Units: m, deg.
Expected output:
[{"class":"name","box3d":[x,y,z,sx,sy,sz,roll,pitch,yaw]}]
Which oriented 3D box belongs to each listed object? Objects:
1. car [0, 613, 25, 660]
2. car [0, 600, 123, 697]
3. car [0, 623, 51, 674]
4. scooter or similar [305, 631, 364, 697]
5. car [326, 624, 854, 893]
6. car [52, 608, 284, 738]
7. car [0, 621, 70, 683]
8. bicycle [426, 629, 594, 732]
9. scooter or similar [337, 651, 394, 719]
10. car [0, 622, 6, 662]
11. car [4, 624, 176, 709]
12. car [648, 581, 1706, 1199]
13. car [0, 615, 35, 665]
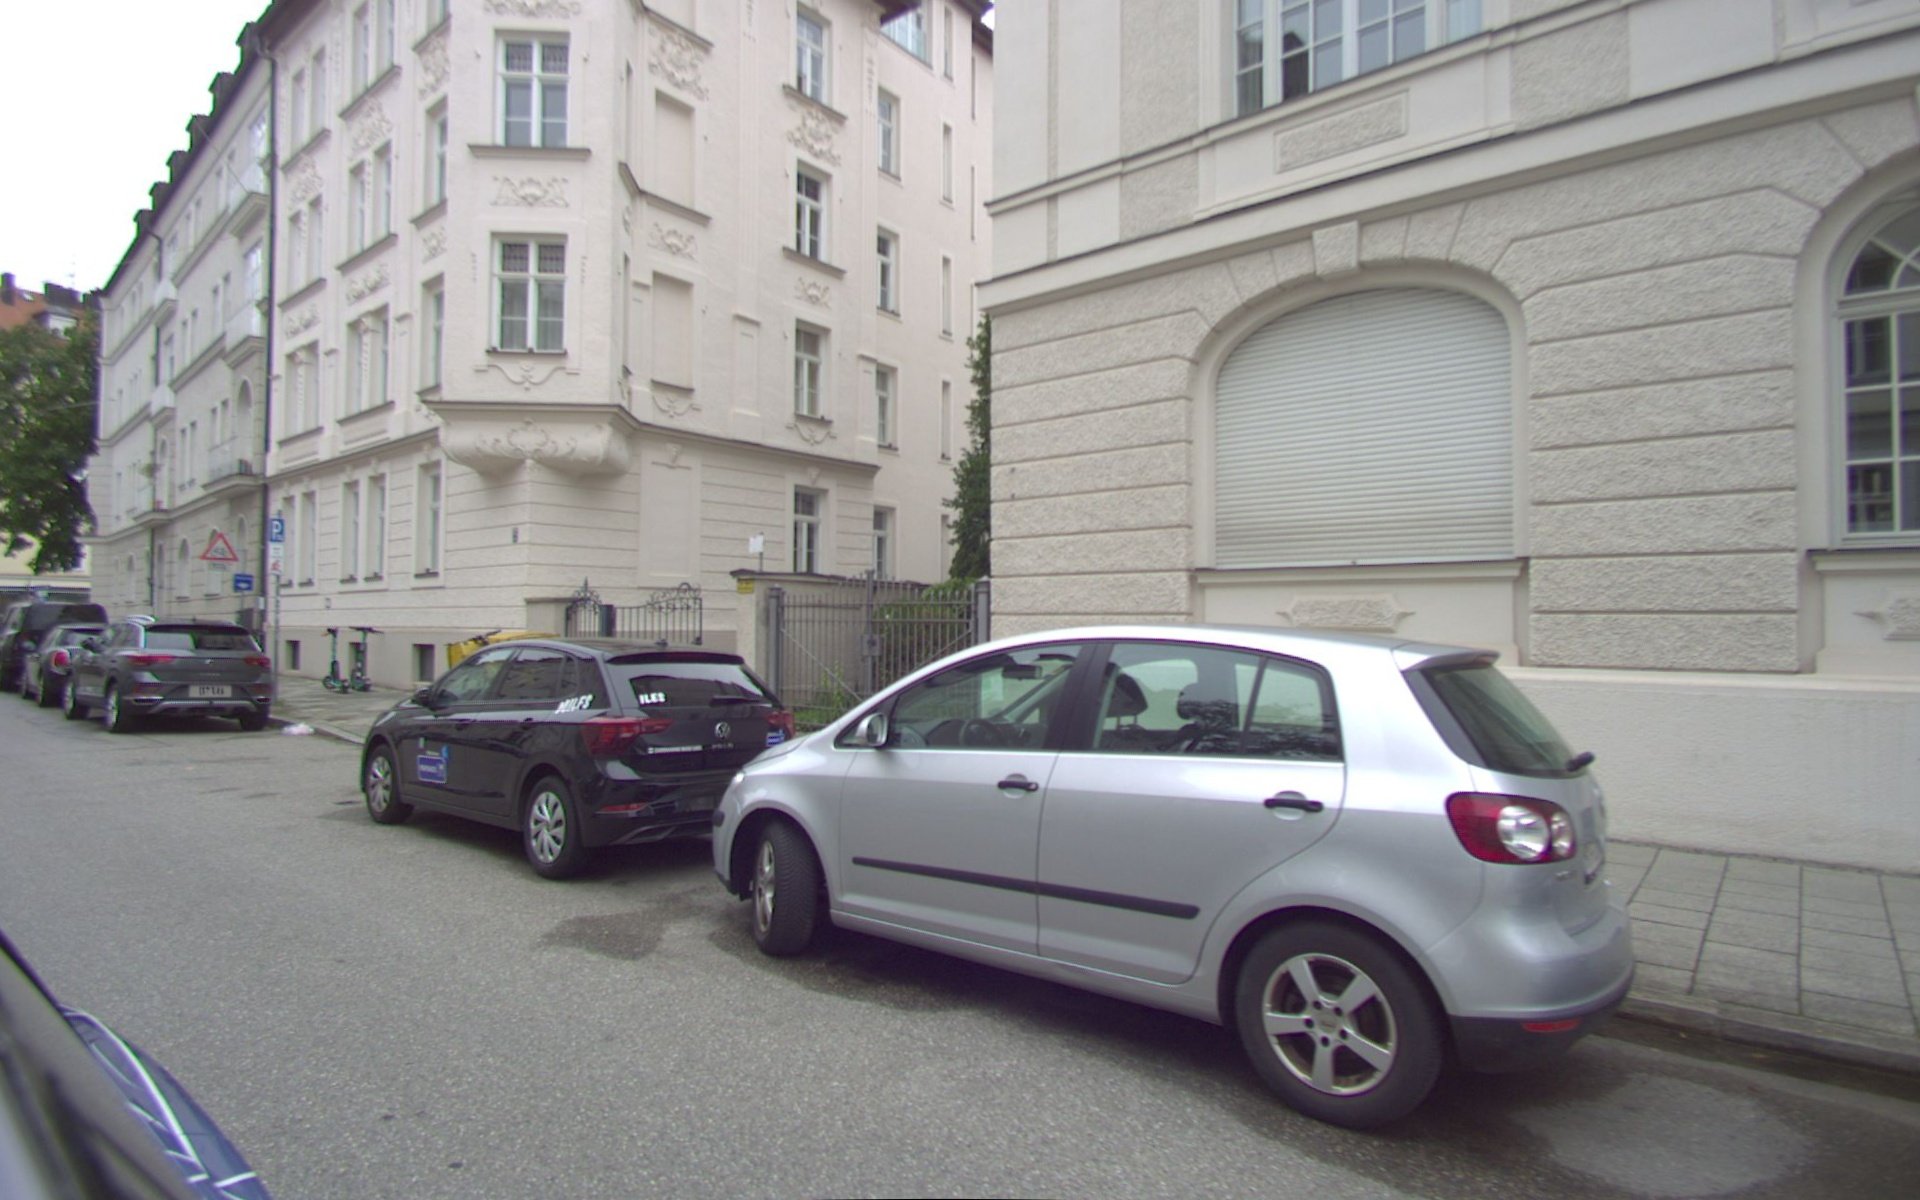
[{"class":"car","box3d":[-36.381,1.371,37.695,4.210,1.690,1.817,-2,-2,41]},{"class":"car","box3d":[-20.160,1.056,22.272,4.760,1.909,1.817,-2,-4,40]},{"class":"car","box3d":[-28.047,1.392,29.732,4.092,1.417,1.636,-1,-3,44]},{"class":"scooter or similar","box3d":[-12.034,1.212,19.443,1.547,1.209,0.526,-1,-2,41]},{"class":"car","box3d":[-2.925,0.933,7.522,4.275,1.426,1.774,-1,-4,40]},{"class":"car","box3d":[-11.567,0.991,14.692,4.117,1.631,1.709,-1,-4,39]},{"class":"car","box3d":[-24.768,1.324,26.558,3.529,1.525,1.599,-1,-3,41]},{"class":"bicycle","box3d":[-6.526,1.092,14.596,2.715,1.251,1.140,-1,2,41]},{"class":"scooter or similar","box3d":[-11.672,1.641,19.852,1.547,1.231,0.488,-1,-2,41]},{"class":"car","box3d":[-40.095,1.692,40.855,3.945,1.580,1.678,-1,-1,38]},{"class":"car","box3d":[-16.172,1.184,18.740,4.243,1.405,1.817,-2,-4,42]},{"class":"car","box3d":[0.672,0.798,4.512,4.250,1.553,1.766,-1,-4,37]},{"class":"car","box3d":[-32.149,1.316,33.556,4.434,1.611,1.855,-2,-2,44]}]
